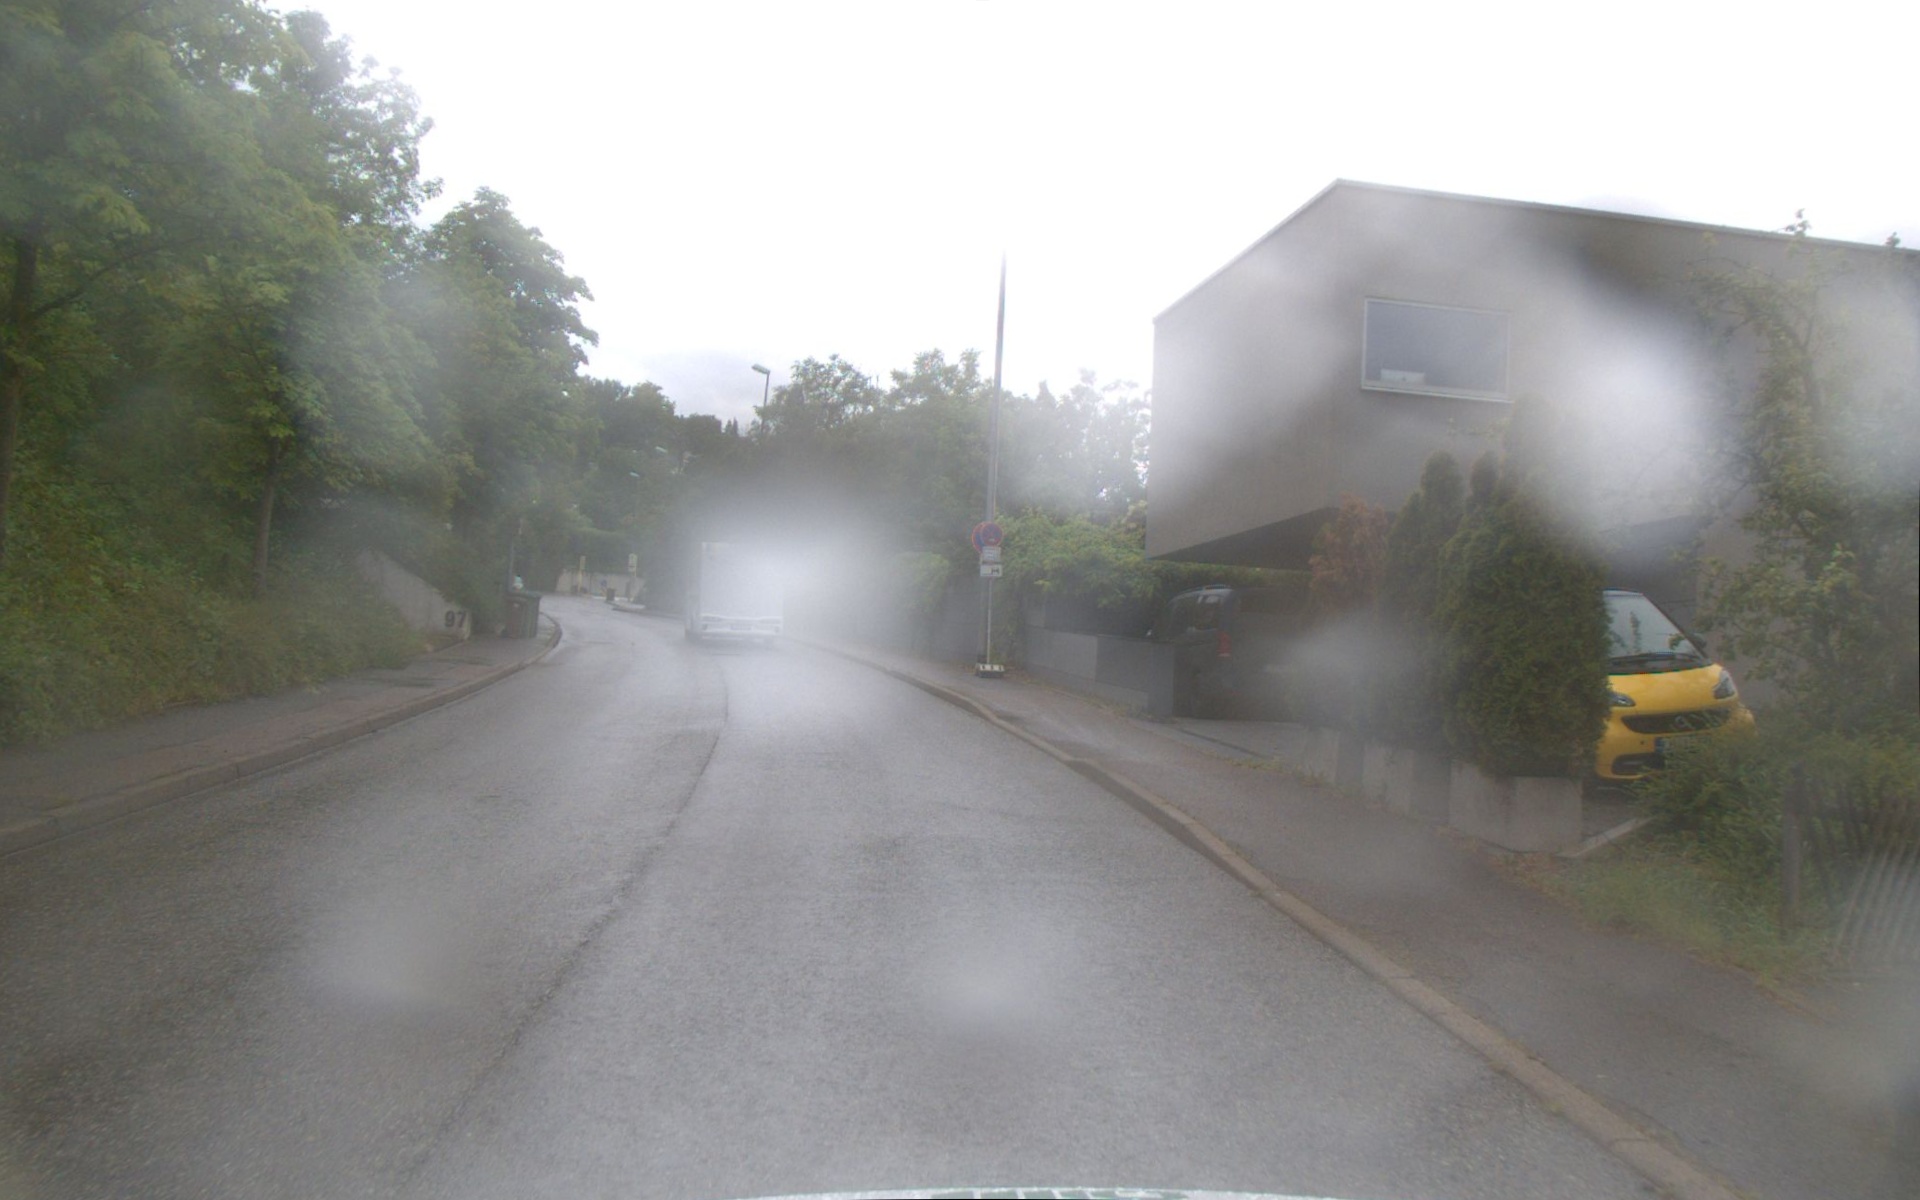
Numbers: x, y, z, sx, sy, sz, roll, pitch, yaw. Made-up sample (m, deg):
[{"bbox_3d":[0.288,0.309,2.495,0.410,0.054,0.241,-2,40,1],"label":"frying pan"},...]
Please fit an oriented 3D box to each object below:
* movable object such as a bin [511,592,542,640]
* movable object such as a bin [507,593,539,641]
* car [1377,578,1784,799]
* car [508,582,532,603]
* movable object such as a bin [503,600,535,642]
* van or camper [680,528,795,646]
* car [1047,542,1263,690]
[{"bbox_3d":[-10.348,0.375,39.505,0.636,1.123,0.671,2,0,-11],"label":"movable object such as a bin"},{"bbox_3d":[-10.242,0.391,38.743,0.636,1.099,0.671,2,0,-11],"label":"movable object such as a bin"},{"bbox_3d":[5.069,0.666,14.000,1.599,1.519,3.417,-4,0,-11],"label":"car"},{"bbox_3d":[-32.554,-0.573,122.375,1.623,1.409,3.516,3,0,-14],"label":"car"},{"bbox_3d":[-10.122,0.477,37.985,0.636,0.927,0.671,2,0,-11],"label":"movable object such as a bin"},{"bbox_3d":[-6.210,-0.298,45.462,2.497,2.976,5.926,1,-1,-14],"label":"van or camper"},{"bbox_3d":[2.815,0.335,25.057,1.957,1.975,4.761,2,-3,-10],"label":"car"}]
